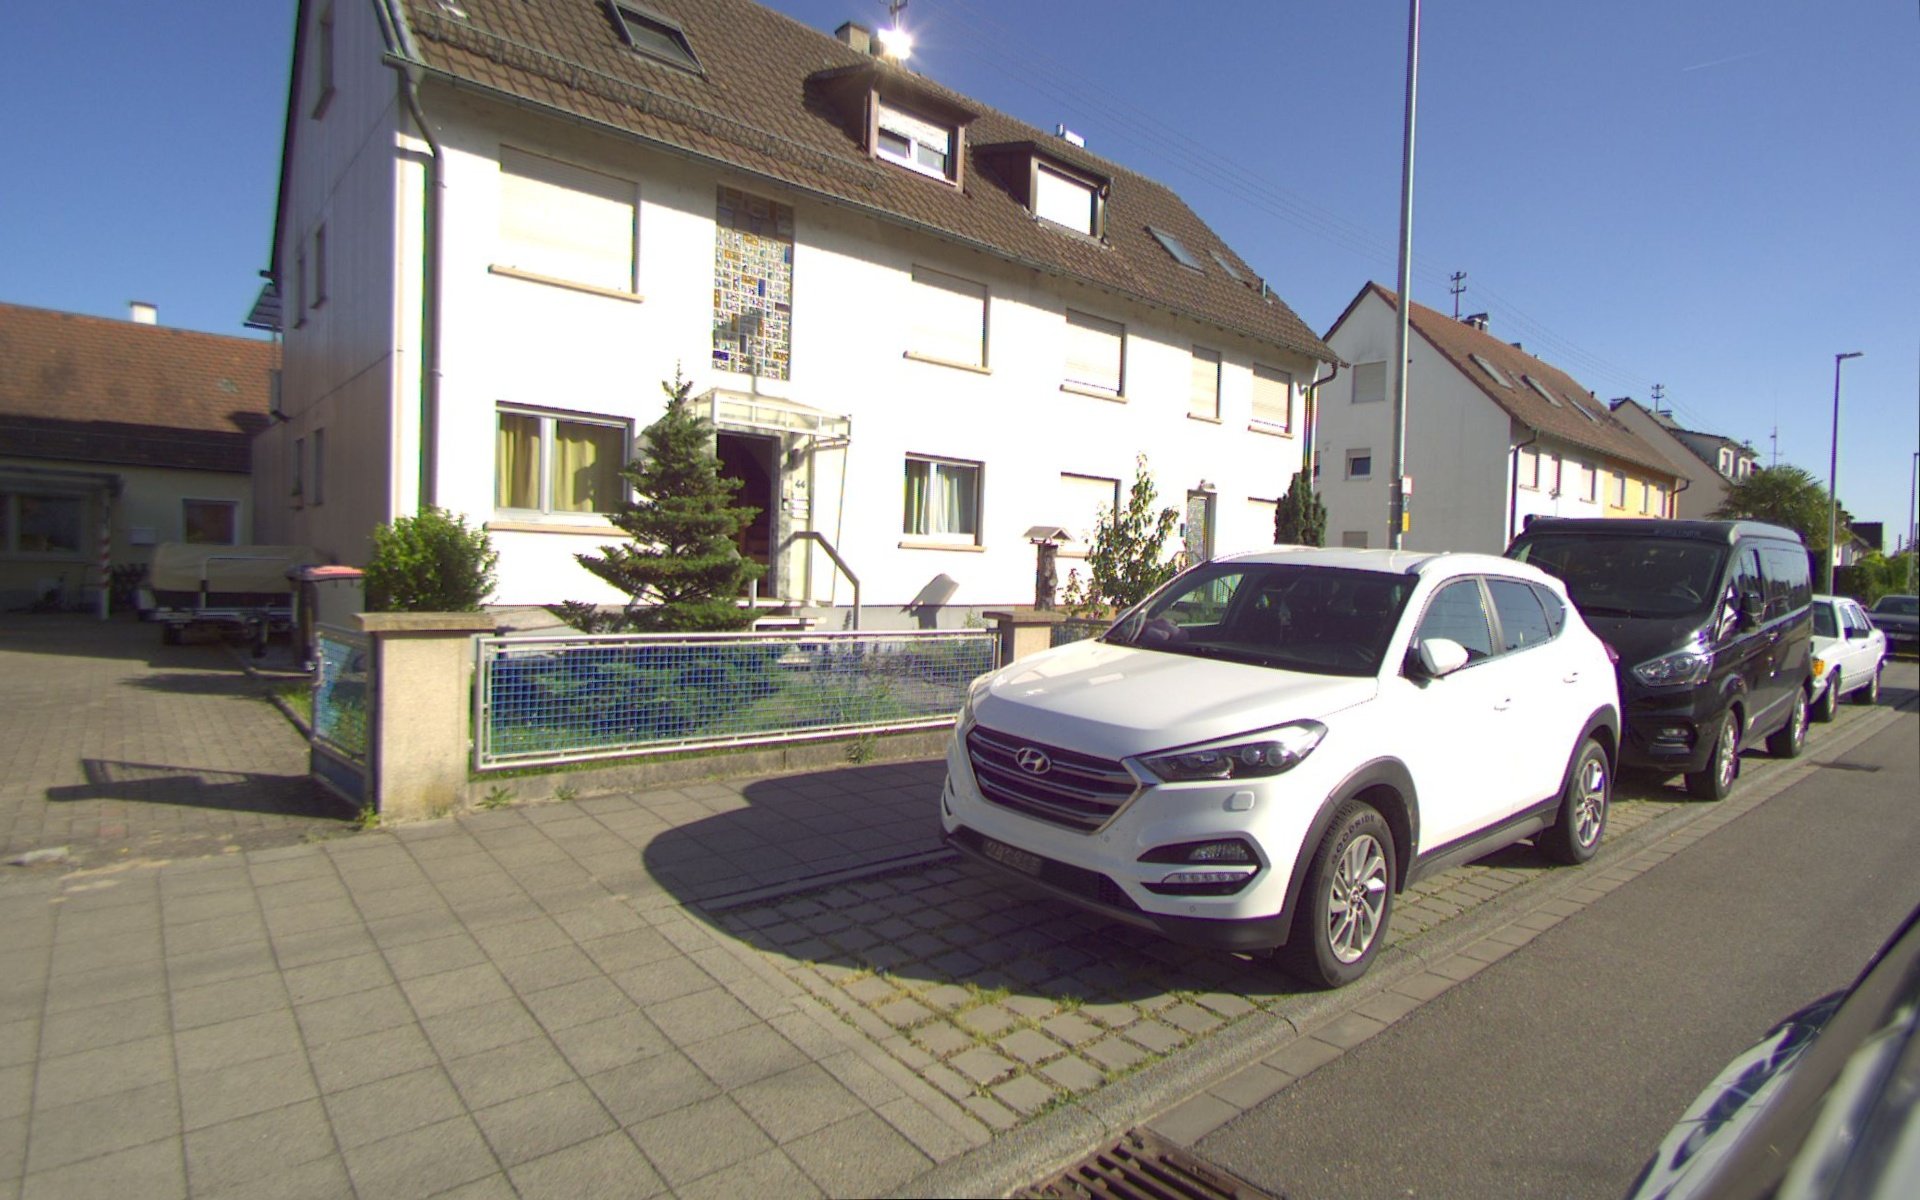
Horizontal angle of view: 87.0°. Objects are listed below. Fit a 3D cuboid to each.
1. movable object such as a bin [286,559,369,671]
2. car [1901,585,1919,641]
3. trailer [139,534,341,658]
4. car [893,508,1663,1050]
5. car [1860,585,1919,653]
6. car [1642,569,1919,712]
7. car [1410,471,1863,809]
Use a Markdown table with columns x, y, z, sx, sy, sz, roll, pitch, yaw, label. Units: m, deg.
| x | y | z | sx | sy | sz | roll | pitch | yaw | label |
| --- | --- | --- | --- | --- | --- | --- | --- | --- | --- |
| -6.512 | 0.130 | 10.403 | 0.568 | 1.073 | 1.062 | 0 | 2 | -40 | movable object such as a bin |
| 27.532 | 0.408 | 28.009 | 4.617 | 1.464 | 1.751 | 1 | 3 | -42 | car |
| -8.870 | -0.132 | 12.343 | 1.606 | 1.204 | 3.749 | 0 | 4 | -42 | trailer |
| 1.889 | 0.483 | 5.153 | 4.243 | 1.665 | 1.729 | 0 | 4 | -41 | car |
| 23.411 | 0.445 | 24.476 | 4.644 | 1.517 | 1.781 | 0 | 3 | -41 | car |
| 11.169 | 0.423 | 13.554 | 5.513 | 1.461 | 1.858 | 0 | 4 | -40 | car |
| 6.200 | 0.183 | 8.958 | 5.243 | 2.170 | 1.964 | 0 | 4 | -41 | car |
